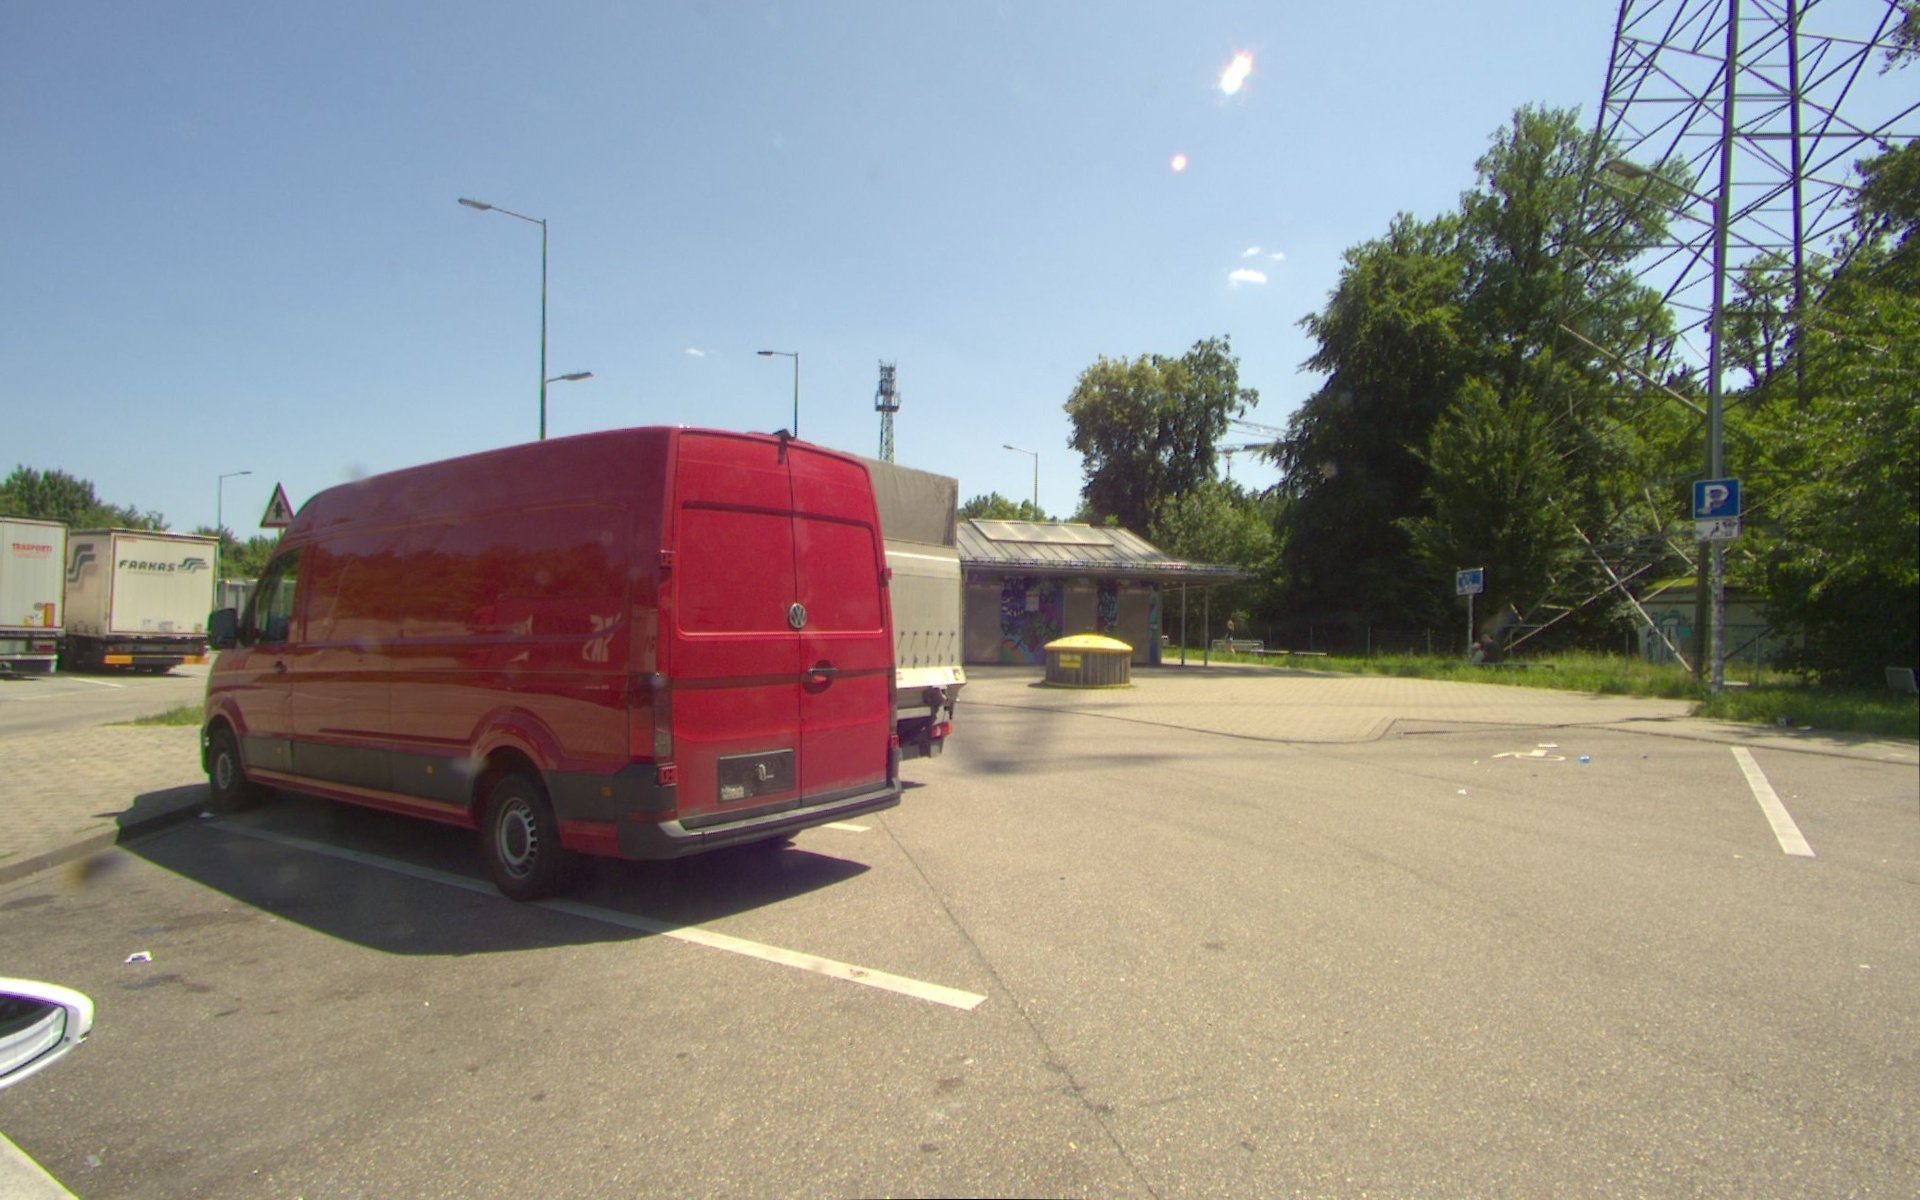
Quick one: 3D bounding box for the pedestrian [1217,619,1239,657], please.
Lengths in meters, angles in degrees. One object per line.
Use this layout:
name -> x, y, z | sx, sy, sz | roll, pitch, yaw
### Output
pedestrian -> 11.714, 1.650, 43.847 | 0.903, 1.639, 0.813 | 0, -1, 14

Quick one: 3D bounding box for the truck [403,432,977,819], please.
truck -> -3.097, 0.277, 10.507 | 6.372, 2.944, 2.411 | -1, -2, 37

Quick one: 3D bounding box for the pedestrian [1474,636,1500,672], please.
pedestrian -> 14.632, 1.500, 27.803 | 0.439, 0.987, 0.460 | 0, -1, -19

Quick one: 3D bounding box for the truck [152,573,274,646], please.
truck -> -37.561, 0.476, 50.307 | 5.887, 3.406, 2.862 | 1, -2, 32

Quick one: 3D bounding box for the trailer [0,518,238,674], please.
trailer -> -27.626, -0.167, 31.594 | 13.561, 4.162, 2.854 | 1, -2, 32

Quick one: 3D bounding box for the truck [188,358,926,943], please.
truck -> -3.348, 0.305, 7.323 | 6.372, 2.685, 2.005 | -1, -2, 37

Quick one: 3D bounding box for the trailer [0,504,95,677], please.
trailer -> -28.699, -0.340, 28.006 | 13.561, 4.162, 2.854 | 1, -2, 32

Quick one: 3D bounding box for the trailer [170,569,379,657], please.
trailer -> -32.489, 0.486, 47.083 | 13.561, 3.646, 2.854 | 1, -2, 32

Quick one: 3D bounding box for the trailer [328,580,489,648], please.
trailer -> -36.183, 0.848, 65.322 | 13.561, 3.955, 2.854 | 1, -2, 32

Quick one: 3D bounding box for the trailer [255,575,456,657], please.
trailer -> -30.887, 0.711, 50.764 | 13.561, 3.646, 2.854 | 1, -2, 32
